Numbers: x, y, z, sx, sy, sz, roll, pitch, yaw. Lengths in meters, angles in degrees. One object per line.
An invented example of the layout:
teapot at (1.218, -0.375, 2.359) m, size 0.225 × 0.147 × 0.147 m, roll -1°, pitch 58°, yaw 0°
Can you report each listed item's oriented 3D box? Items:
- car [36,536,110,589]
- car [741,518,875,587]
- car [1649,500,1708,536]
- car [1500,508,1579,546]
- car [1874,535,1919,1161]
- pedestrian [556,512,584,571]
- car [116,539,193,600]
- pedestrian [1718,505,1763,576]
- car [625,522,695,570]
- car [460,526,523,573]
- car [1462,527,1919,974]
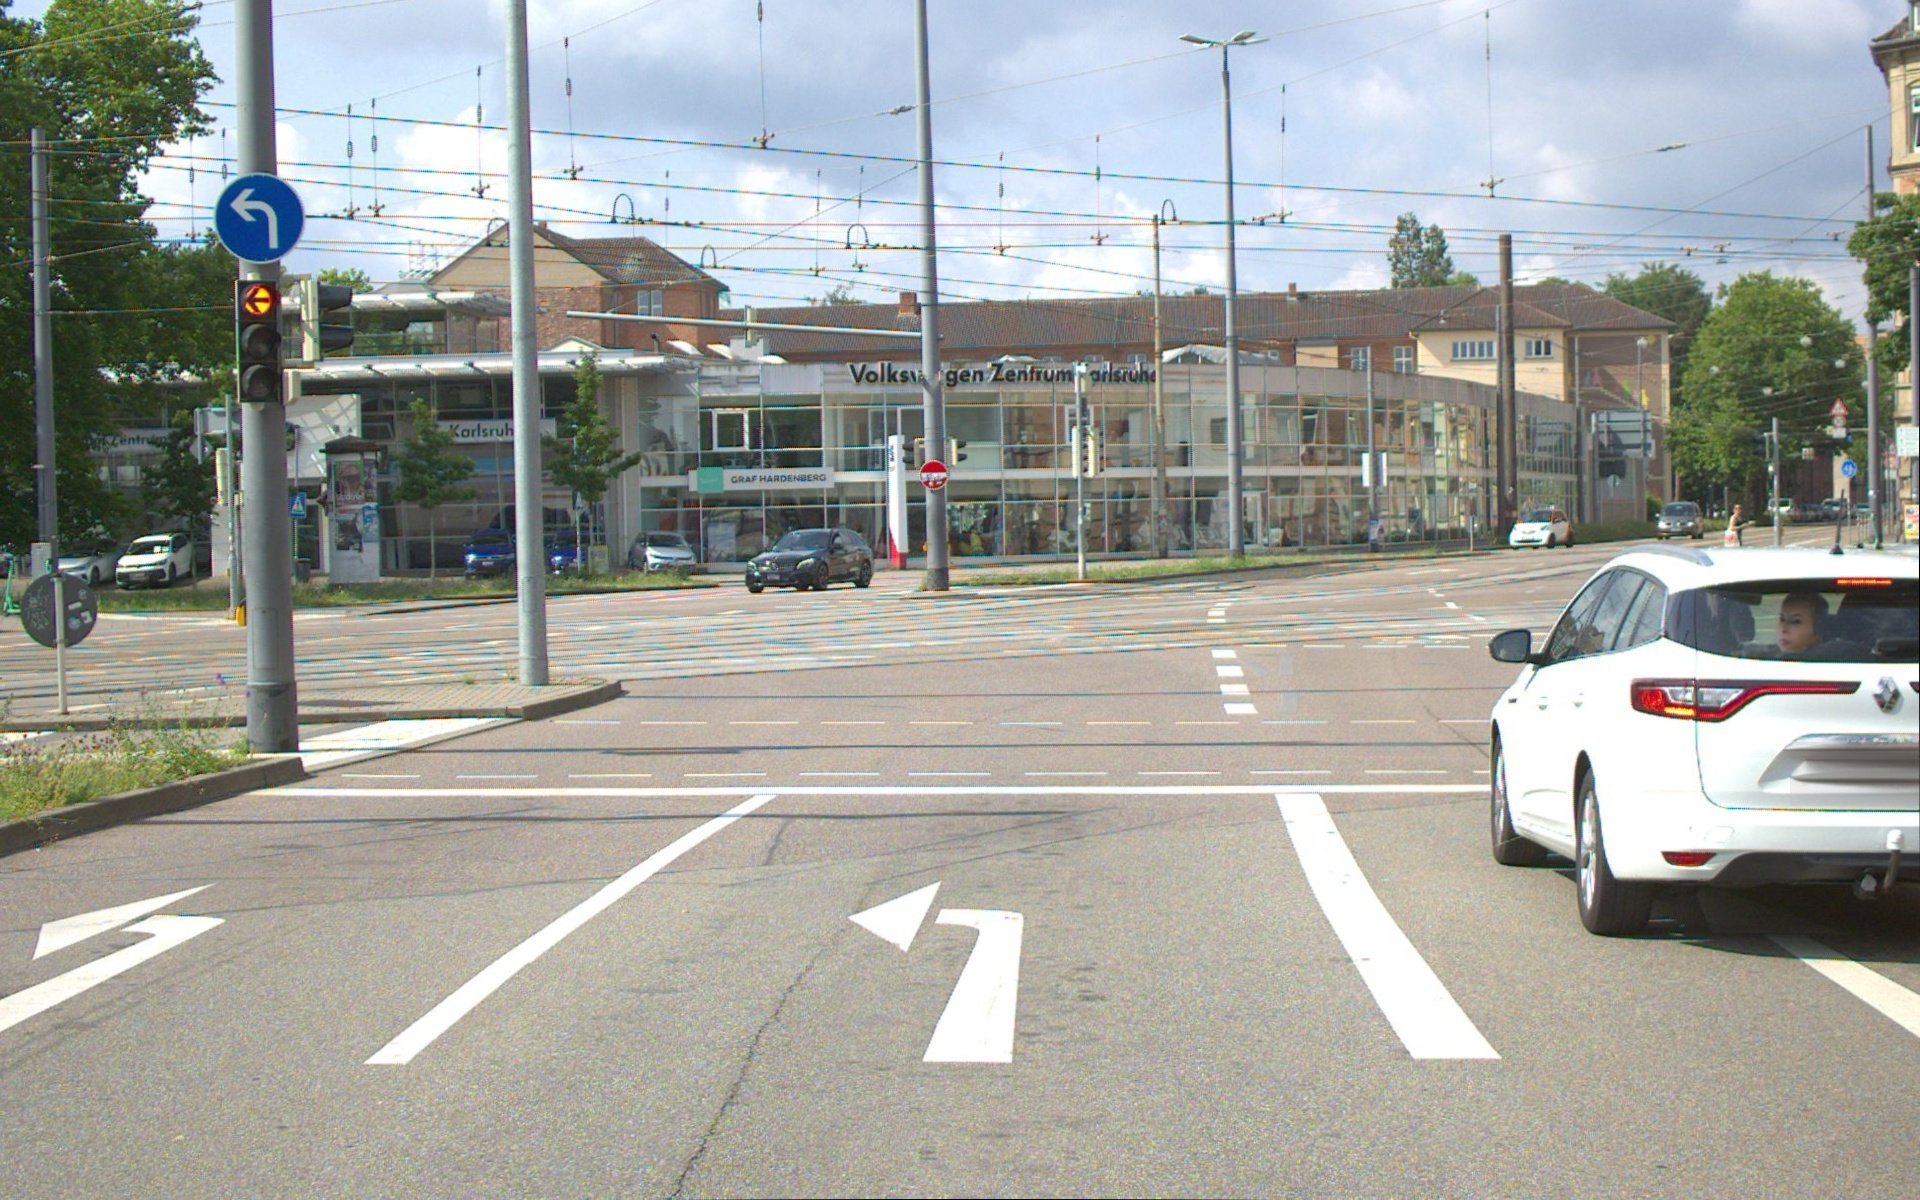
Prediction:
car at (-30.562, -1.296, 118.538) m, size 1.797 × 1.763 × 4.001 m, roll -1°, pitch 1°, yaw -5°
car at (-3.519, -1.125, 80.239) m, size 1.995 × 1.525 × 3.998 m, roll -1°, pitch 1°, yaw 15°
car at (32.648, -3.720, 156.174) m, size 1.995 × 1.568 × 3.996 m, roll 0°, pitch 1°, yaw 21°
car at (22.632, -2.866, 134.228) m, size 1.996 × 1.437 × 3.995 m, roll 0°, pitch 1°, yaw 26°
car at (3.113, 0.620, 6.250) m, size 1.816 × 1.434 × 4.067 m, roll 0°, pitch 2°, yaw 0°
pedestrian at (-12.979, -1.965, 114.433) m, size 0.881 × 1.941 × 0.888 m, roll -1°, pitch 1°, yaw -7°
car at (-27.672, -1.064, 118.162) m, size 1.993 × 2.007 × 4.001 m, roll -1°, pitch 1°, yaw -5°
pedestrian at (17.024, -1.307, 74.987) m, size 0.673 × 1.530 × 0.674 m, roll -2°, pitch 1°, yaw -39°
car at (-10.294, -1.847, 117.908) m, size 1.993 × 1.590 × 4.001 m, roll -1°, pitch 1°, yaw -11°
car at (-15.929, -1.728, 117.030) m, size 1.993 × 1.546 × 4.079 m, roll -1°, pitch 1°, yaw -6°
car at (3.183, 0.468, 13.817) m, size 1.848 × 1.467 × 4.335 m, roll -1°, pitch 1°, yaw 3°
